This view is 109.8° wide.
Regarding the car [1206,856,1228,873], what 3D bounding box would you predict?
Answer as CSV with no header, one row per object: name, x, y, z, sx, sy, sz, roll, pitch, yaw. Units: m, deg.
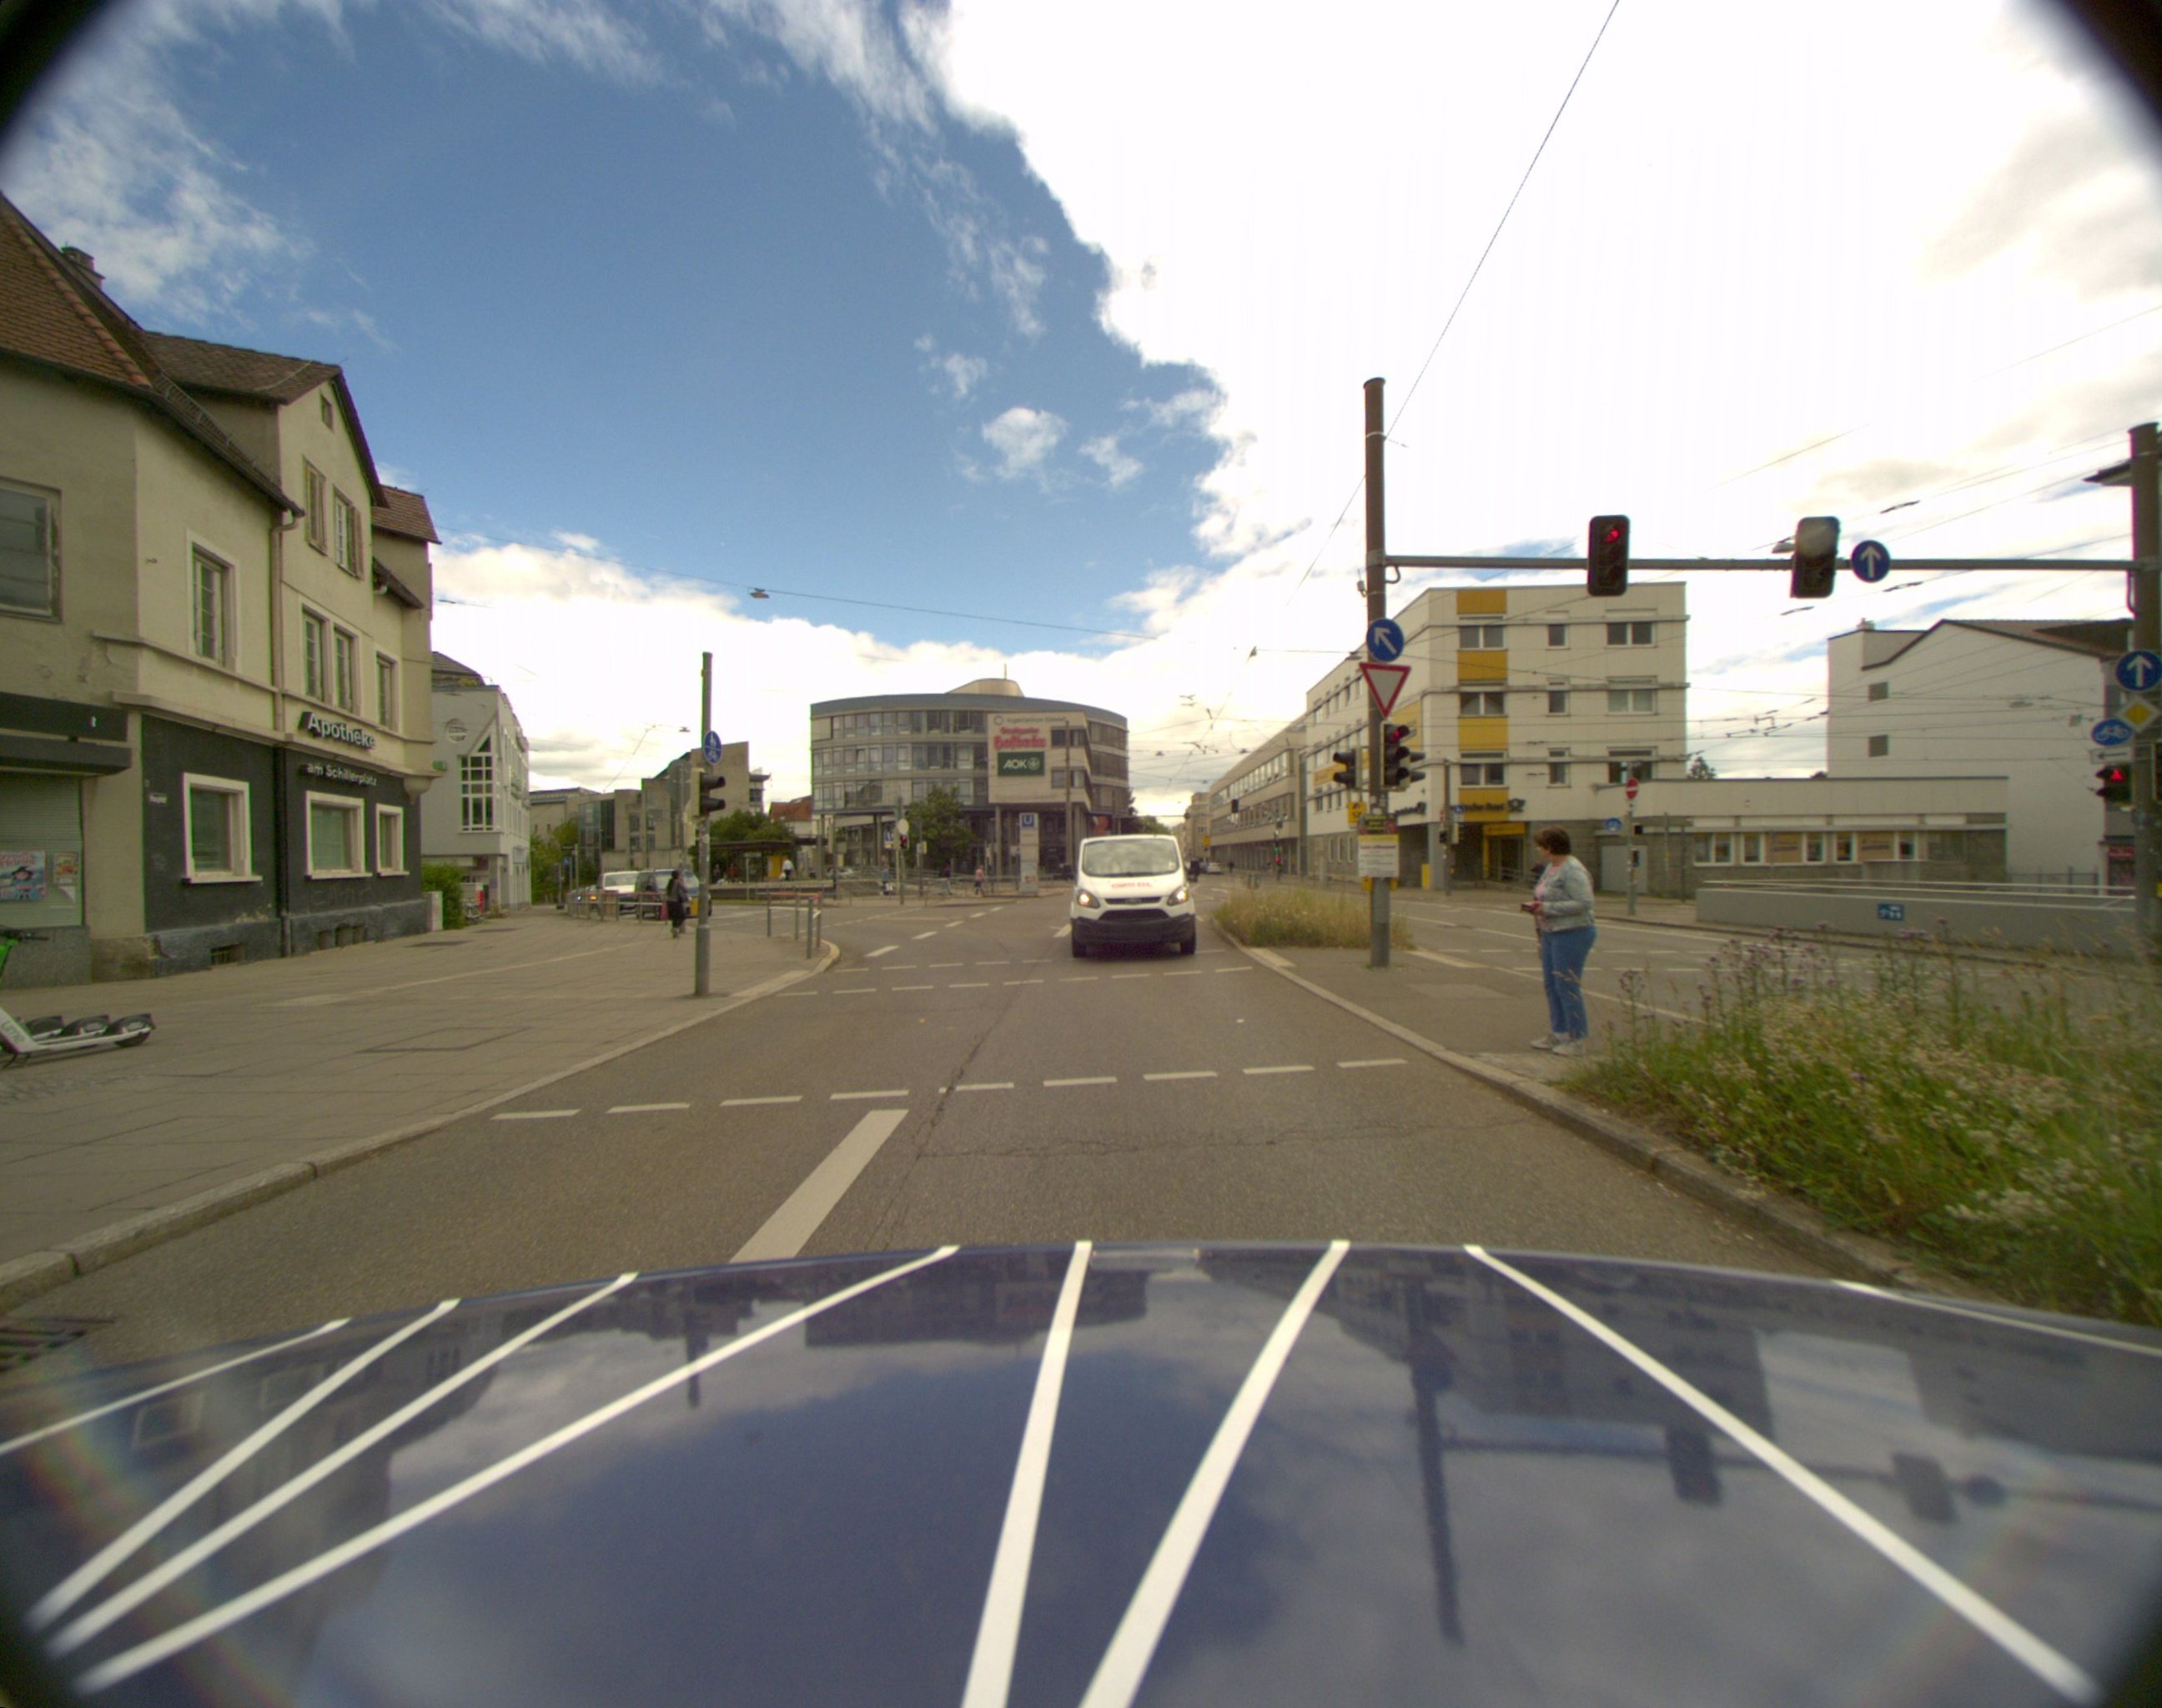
car,17.267,1.344,96.820,1.998,2.002,4.487,-1,0,1

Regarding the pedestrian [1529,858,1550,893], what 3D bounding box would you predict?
pedestrian,21.411,0.991,35.466,0.587,1.625,0.615,-1,0,2

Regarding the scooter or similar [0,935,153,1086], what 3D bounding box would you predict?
scooter or similar,-8.901,1.322,6.525,0.315,1.126,1.208,-1,0,4

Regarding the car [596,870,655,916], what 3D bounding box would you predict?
car,-21.120,1.720,35.137,1.884,1.884,4.915,-2,0,-36

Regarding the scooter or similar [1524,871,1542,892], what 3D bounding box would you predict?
scooter or similar,21.440,1.313,36.048,0.508,0.971,0.617,-1,0,0

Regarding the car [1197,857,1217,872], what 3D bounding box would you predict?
car,17.020,1.385,103.027,1.998,2.002,4.487,-1,0,1

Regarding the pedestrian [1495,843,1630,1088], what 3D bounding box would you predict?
pedestrian,3.398,0.744,5.406,0.504,1.625,0.663,-1,0,-4

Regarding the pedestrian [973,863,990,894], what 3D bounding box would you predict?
pedestrian,-5.284,1.308,40.472,0.589,1.625,0.525,-4,0,-43

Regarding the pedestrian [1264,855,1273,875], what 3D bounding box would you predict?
pedestrian,17.163,1.029,69.687,0.587,1.792,0.526,-4,0,2

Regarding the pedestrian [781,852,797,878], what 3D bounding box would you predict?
pedestrian,-20.078,0.772,52.225,0.613,1.733,0.697,-4,0,39

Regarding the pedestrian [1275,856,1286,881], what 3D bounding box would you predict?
pedestrian,14.729,1.036,56.021,0.587,1.792,0.526,-4,0,2

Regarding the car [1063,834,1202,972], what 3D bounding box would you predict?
car,1.005,0.745,13.691,1.998,2.002,5.002,-2,0,6

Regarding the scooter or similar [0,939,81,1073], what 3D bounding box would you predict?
scooter or similar,-9.640,1.358,6.573,0.315,1.126,1.208,-1,0,4

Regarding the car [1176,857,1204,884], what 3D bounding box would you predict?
car,8.539,1.259,59.805,1.997,2.002,4.489,-2,0,7

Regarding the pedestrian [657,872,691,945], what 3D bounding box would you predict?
pedestrian,-9.496,1.258,17.711,0.589,1.612,0.743,-4,0,-29

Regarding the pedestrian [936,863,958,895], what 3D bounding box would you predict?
pedestrian,-7.111,1.341,40.363,0.847,1.625,0.644,-4,0,-31

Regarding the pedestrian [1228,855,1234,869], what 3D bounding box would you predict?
pedestrian,19.999,1.069,101.028,0.587,1.792,0.526,-4,0,2

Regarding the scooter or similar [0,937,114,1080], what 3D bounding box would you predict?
scooter or similar,-9.250,1.339,6.511,0.315,1.126,1.208,-1,0,4

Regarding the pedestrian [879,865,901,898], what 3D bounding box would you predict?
pedestrian,-9.791,1.404,38.954,0.808,1.637,0.886,-1,0,-38

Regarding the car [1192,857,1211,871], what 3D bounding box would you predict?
car,17.190,1.417,108.868,1.998,2.002,4.487,-1,0,1

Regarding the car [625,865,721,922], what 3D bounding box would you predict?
car,-15.235,1.406,28.241,1.884,1.884,4.914,-2,0,-43
